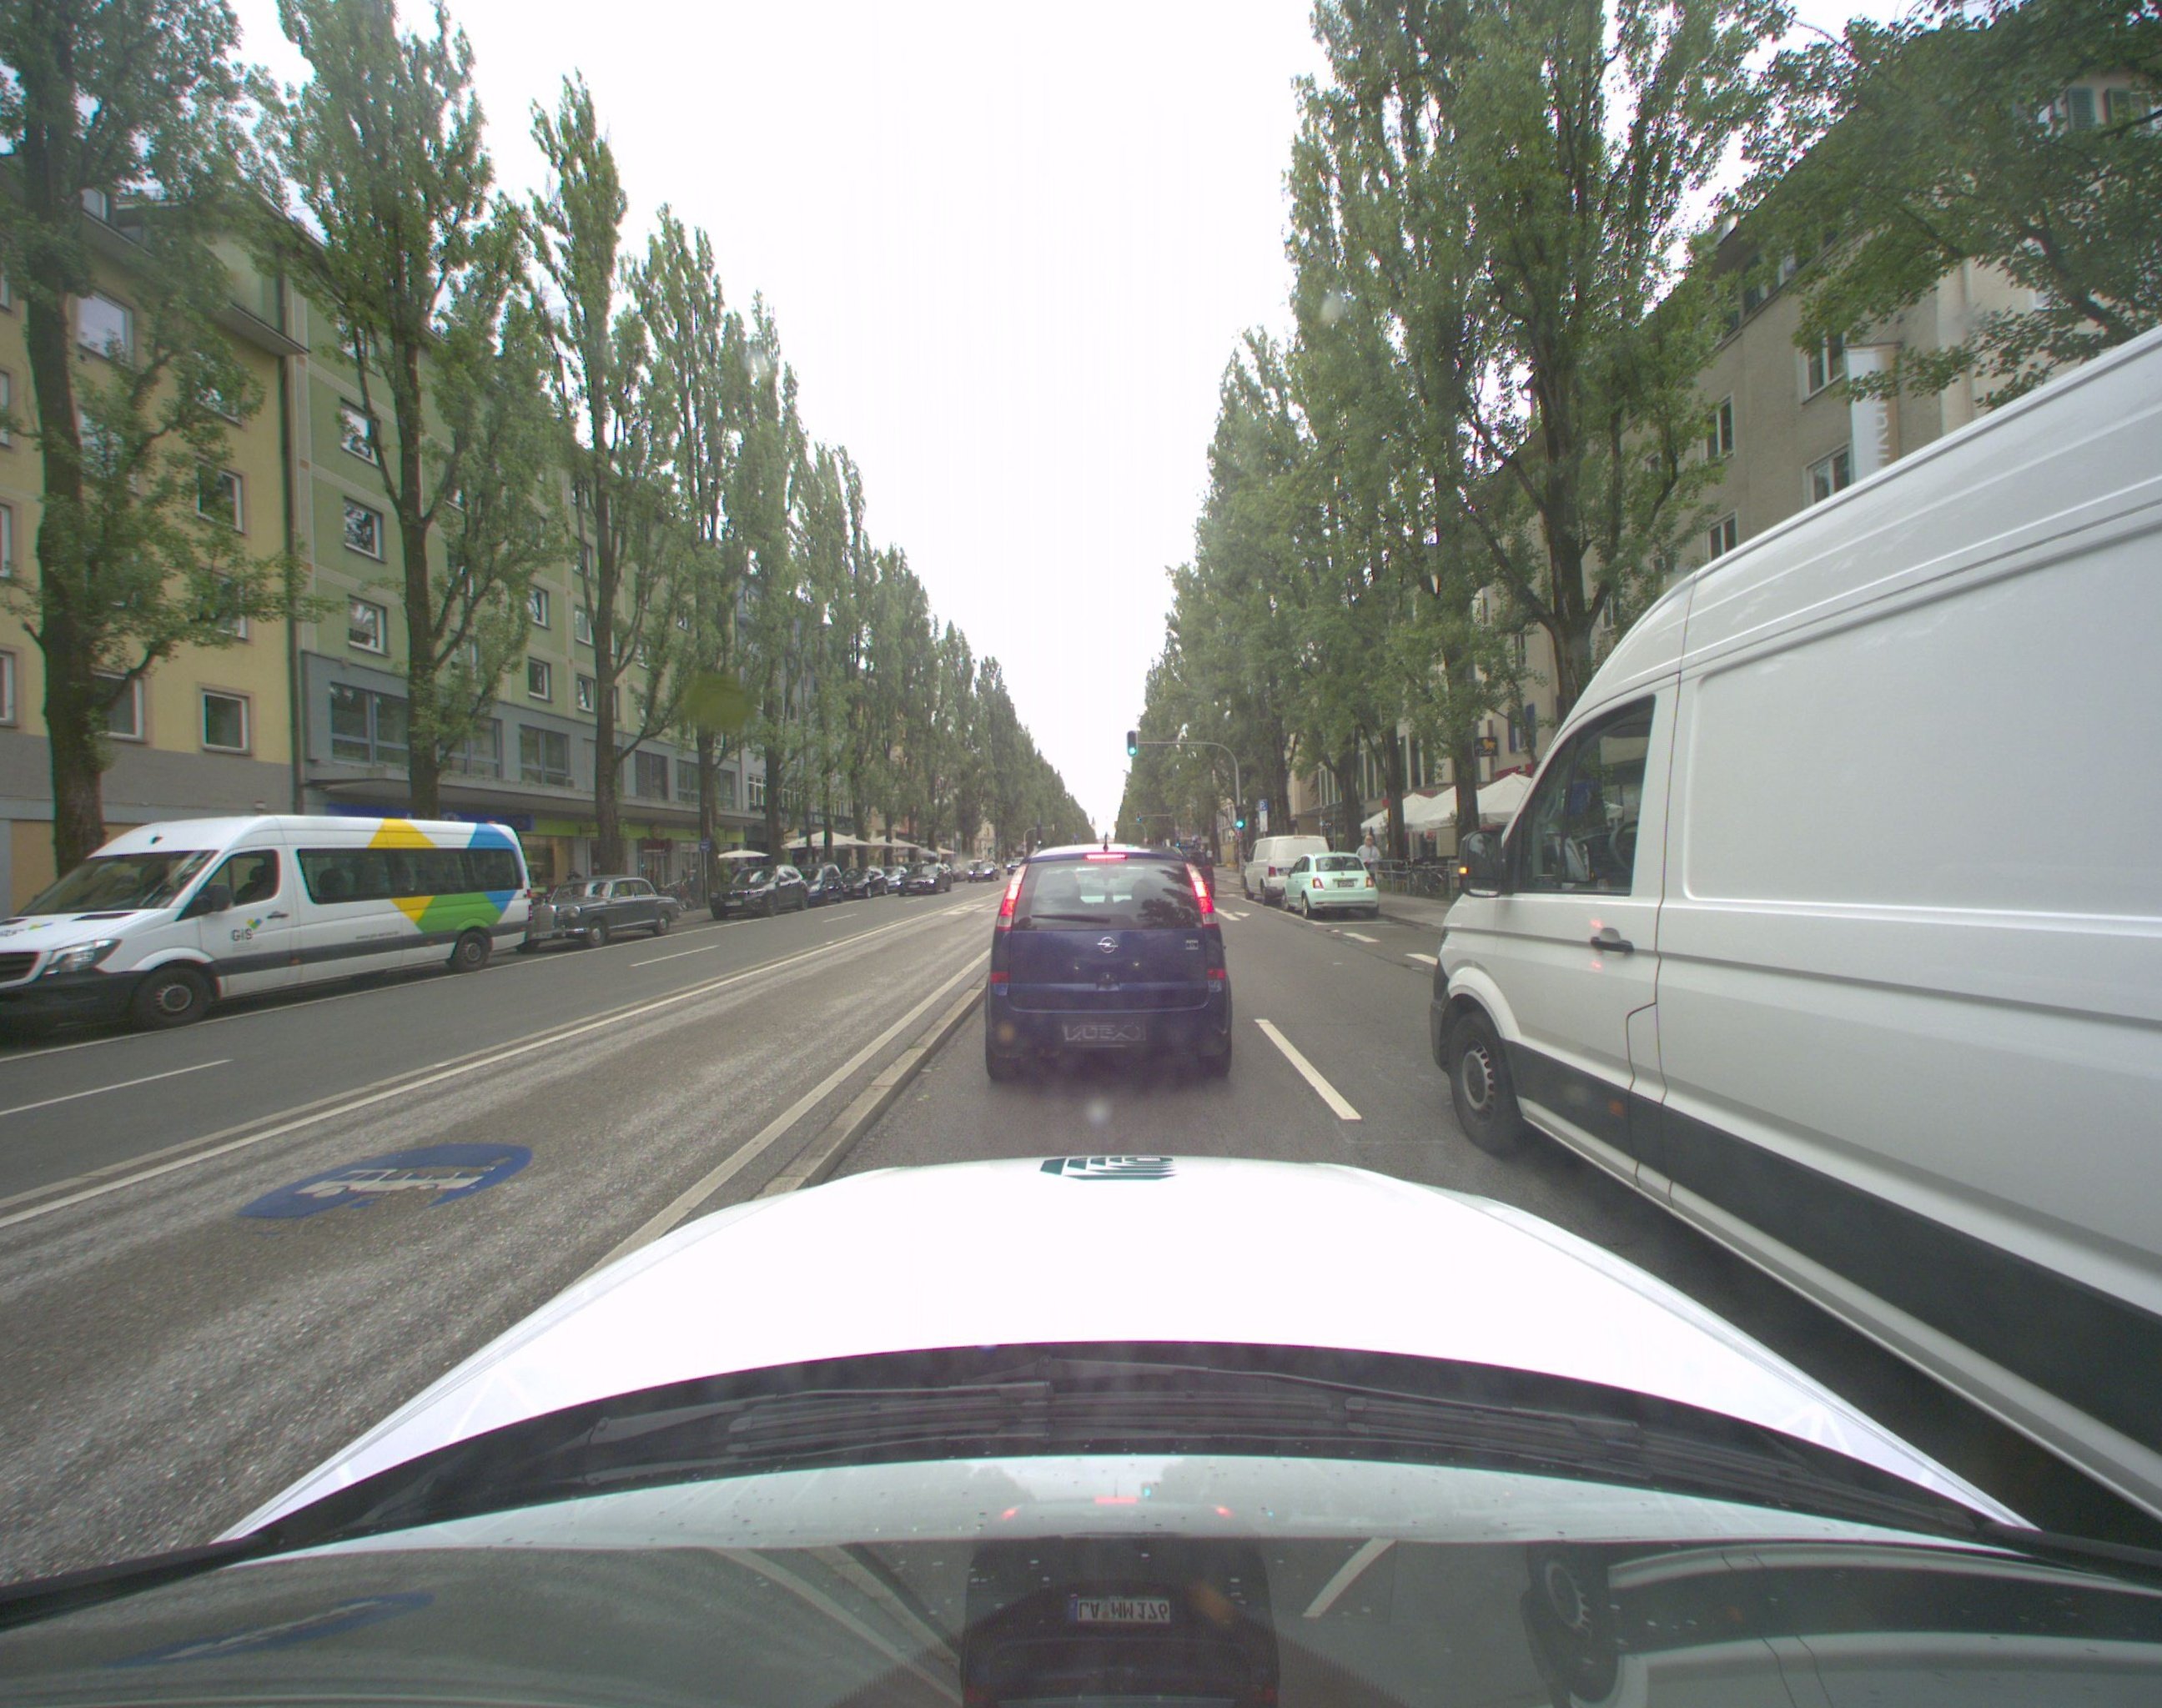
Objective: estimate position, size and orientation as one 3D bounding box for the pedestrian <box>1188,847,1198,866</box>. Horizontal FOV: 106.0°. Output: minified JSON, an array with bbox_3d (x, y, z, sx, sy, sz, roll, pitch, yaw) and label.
[{"bbox_3d":[10.461,0.248,76.059,0.636,1.827,0.885,0,-1,-8],"label":"pedestrian"}]

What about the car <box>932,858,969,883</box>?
[{"bbox_3d":[-9.646,1.196,60.464,1.859,1.665,4.122,-4,0,2],"label":"car"}]

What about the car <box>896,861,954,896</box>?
[{"bbox_3d":[-7.533,1.146,39.841,1.691,1.462,4.714,-4,0,2],"label":"car"}]

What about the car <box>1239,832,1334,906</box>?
[{"bbox_3d":[6.046,0.402,24.510,1.781,1.946,4.732,-2,0,2],"label":"car"}]

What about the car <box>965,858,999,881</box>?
[{"bbox_3d":[-7.003,1.053,58.086,1.739,1.434,4.131,-4,0,2],"label":"car"}]

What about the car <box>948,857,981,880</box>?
[{"bbox_3d":[-9.366,1.170,65.989,1.859,1.665,4.122,-4,0,2],"label":"car"}]

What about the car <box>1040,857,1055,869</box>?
[{"bbox_3d":[-4.999,1.333,121.150,1.859,1.665,4.122,-2,0,2],"label":"car"}]

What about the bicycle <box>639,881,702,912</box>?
[{"bbox_3d":[-15.209,1.564,30.222,1.943,1.095,0.718,0,0,-5],"label":"bicycle"}]

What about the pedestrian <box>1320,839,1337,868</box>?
[{"bbox_3d":[14.841,0.001,48.803,0.671,1.686,0.758,-3,-1,-3],"label":"pedestrian"}]

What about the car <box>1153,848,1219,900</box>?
[{"bbox_3d":[3.586,0.651,28.369,1.889,1.622,4.002,-1,0,2],"label":"car"}]

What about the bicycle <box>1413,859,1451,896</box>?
[{"bbox_3d":[9.848,0.656,22.913,0.348,0.996,1.453,-4,-1,-2],"label":"bicycle"}]

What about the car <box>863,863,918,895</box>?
[{"bbox_3d":[-10.125,1.301,43.532,1.727,1.425,4.145,-4,0,2],"label":"car"}]

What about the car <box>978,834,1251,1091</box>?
[{"bbox_3d":[0.278,0.678,7.073,1.665,1.568,4.002,-1,0,2],"label":"car"}]

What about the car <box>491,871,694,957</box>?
[{"bbox_3d":[-11.106,1.278,18.964,1.859,1.552,4.416,-4,0,2],"label":"car"}]

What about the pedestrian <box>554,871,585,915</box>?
[{"bbox_3d":[-20.271,1.537,32.294,0.670,1.686,0.759,-3,-1,3],"label":"pedestrian"}]

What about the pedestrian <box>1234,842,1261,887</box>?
[{"bbox_3d":[6.436,0.404,31.470,0.857,1.684,0.626,-2,0,-2],"label":"pedestrian"}]

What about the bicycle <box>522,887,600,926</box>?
[{"bbox_3d":[-15.266,1.533,23.919,1.860,1.095,0.720,0,0,4],"label":"bicycle"}]

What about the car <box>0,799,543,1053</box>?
[{"bbox_3d":[-11.307,0.777,11.867,1.998,2.567,6.915,-4,0,2],"label":"car"}]

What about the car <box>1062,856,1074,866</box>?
[{"bbox_3d":[-1.991,1.007,125.207,1.728,1.465,3.366,-2,0,2],"label":"car"}]

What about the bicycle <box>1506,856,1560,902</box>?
[{"bbox_3d":[10.358,0.566,18.705,0.348,0.996,1.453,-4,-1,-2],"label":"bicycle"}]

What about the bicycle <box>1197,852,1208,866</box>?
[{"bbox_3d":[12.097,0.532,80.935,0.769,1.349,2.450,-2,0,1],"label":"bicycle"}]

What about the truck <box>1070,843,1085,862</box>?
[{"bbox_3d":[-0.584,-0.266,154.705,2.374,3.346,7.113,-2,0,2],"label":"truck"}]

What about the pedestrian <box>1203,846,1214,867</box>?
[{"bbox_3d":[11.278,0.223,71.858,0.719,1.827,0.885,0,-1,-8],"label":"pedestrian"}]

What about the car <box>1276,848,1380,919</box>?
[{"bbox_3d":[5.771,0.649,19.418,1.535,1.492,3.525,-1,0,2],"label":"car"}]

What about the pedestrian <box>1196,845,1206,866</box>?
[{"bbox_3d":[10.537,0.164,71.747,0.636,1.827,0.885,0,-1,-8],"label":"pedestrian"}]

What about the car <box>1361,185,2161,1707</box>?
[{"bbox_3d":[2.708,0.212,1.791,2.055,2.492,6.733,-1,0,2],"label":"car"}]

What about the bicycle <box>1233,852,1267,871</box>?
[{"bbox_3d":[11.897,0.518,57.284,2.220,1.204,0.626,-3,0,-1],"label":"bicycle"}]

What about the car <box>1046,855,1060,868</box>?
[{"bbox_3d":[-4.548,1.247,132.148,1.986,2.013,4.001,-2,0,1],"label":"car"}]

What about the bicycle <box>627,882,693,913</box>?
[{"bbox_3d":[-15.174,1.563,29.390,1.943,1.095,0.718,0,0,-5],"label":"bicycle"}]

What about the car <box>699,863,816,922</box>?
[{"bbox_3d":[-10.668,1.206,27.289,1.859,1.664,4.613,-4,0,2],"label":"car"}]

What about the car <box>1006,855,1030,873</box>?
[{"bbox_3d":[-6.090,0.921,79.097,1.764,1.635,4.456,-3,0,1],"label":"car"}]

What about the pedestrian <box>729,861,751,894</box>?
[{"bbox_3d":[-17.547,1.200,41.935,0.753,1.686,0.675,-3,-1,3],"label":"pedestrian"}]

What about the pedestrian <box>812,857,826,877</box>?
[{"bbox_3d":[-18.697,0.937,58.104,0.763,1.410,0.799,0,-1,-3],"label":"pedestrian"}]

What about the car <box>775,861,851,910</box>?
[{"bbox_3d":[-10.666,1.189,32.700,1.704,1.721,3.920,-4,0,-1],"label":"car"}]

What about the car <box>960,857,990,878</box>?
[{"bbox_3d":[-9.266,1.178,71.251,1.859,1.665,4.122,-4,0,2],"label":"car"}]

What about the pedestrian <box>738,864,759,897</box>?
[{"bbox_3d":[-17.731,1.407,43.480,0.753,1.686,0.675,-3,-1,3],"label":"pedestrian"}]

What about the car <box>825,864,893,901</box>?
[{"bbox_3d":[-10.329,1.279,38.209,1.792,1.488,4.352,-4,0,2],"label":"car"}]

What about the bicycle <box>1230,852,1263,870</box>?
[{"bbox_3d":[11.916,0.525,58.663,2.220,1.204,0.626,-3,0,-1],"label":"bicycle"}]

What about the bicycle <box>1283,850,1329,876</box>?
[{"bbox_3d":[11.691,0.458,42.353,2.220,1.204,0.626,-3,0,-1],"label":"bicycle"}]

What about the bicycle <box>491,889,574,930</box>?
[{"bbox_3d":[-15.274,1.536,22.701,1.860,1.095,0.720,0,0,4],"label":"bicycle"}]

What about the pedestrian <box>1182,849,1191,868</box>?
[{"bbox_3d":[9.822,0.412,75.914,0.636,1.827,0.885,0,-1,-8],"label":"pedestrian"}]

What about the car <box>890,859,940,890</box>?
[{"bbox_3d":[-9.963,1.209,49.220,1.859,1.665,4.402,-4,0,2],"label":"car"}]

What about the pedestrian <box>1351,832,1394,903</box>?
[{"bbox_3d":[7.531,0.354,21.092,0.823,1.773,0.872,-2,0,7],"label":"pedestrian"}]

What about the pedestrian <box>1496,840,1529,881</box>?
[{"bbox_3d":[14.354,0.213,27.126,0.636,1.324,0.800,-2,0,1],"label":"pedestrian"}]

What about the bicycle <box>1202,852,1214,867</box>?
[{"bbox_3d":[11.684,0.515,75.126,0.769,1.349,2.450,-2,0,1],"label":"bicycle"}]
